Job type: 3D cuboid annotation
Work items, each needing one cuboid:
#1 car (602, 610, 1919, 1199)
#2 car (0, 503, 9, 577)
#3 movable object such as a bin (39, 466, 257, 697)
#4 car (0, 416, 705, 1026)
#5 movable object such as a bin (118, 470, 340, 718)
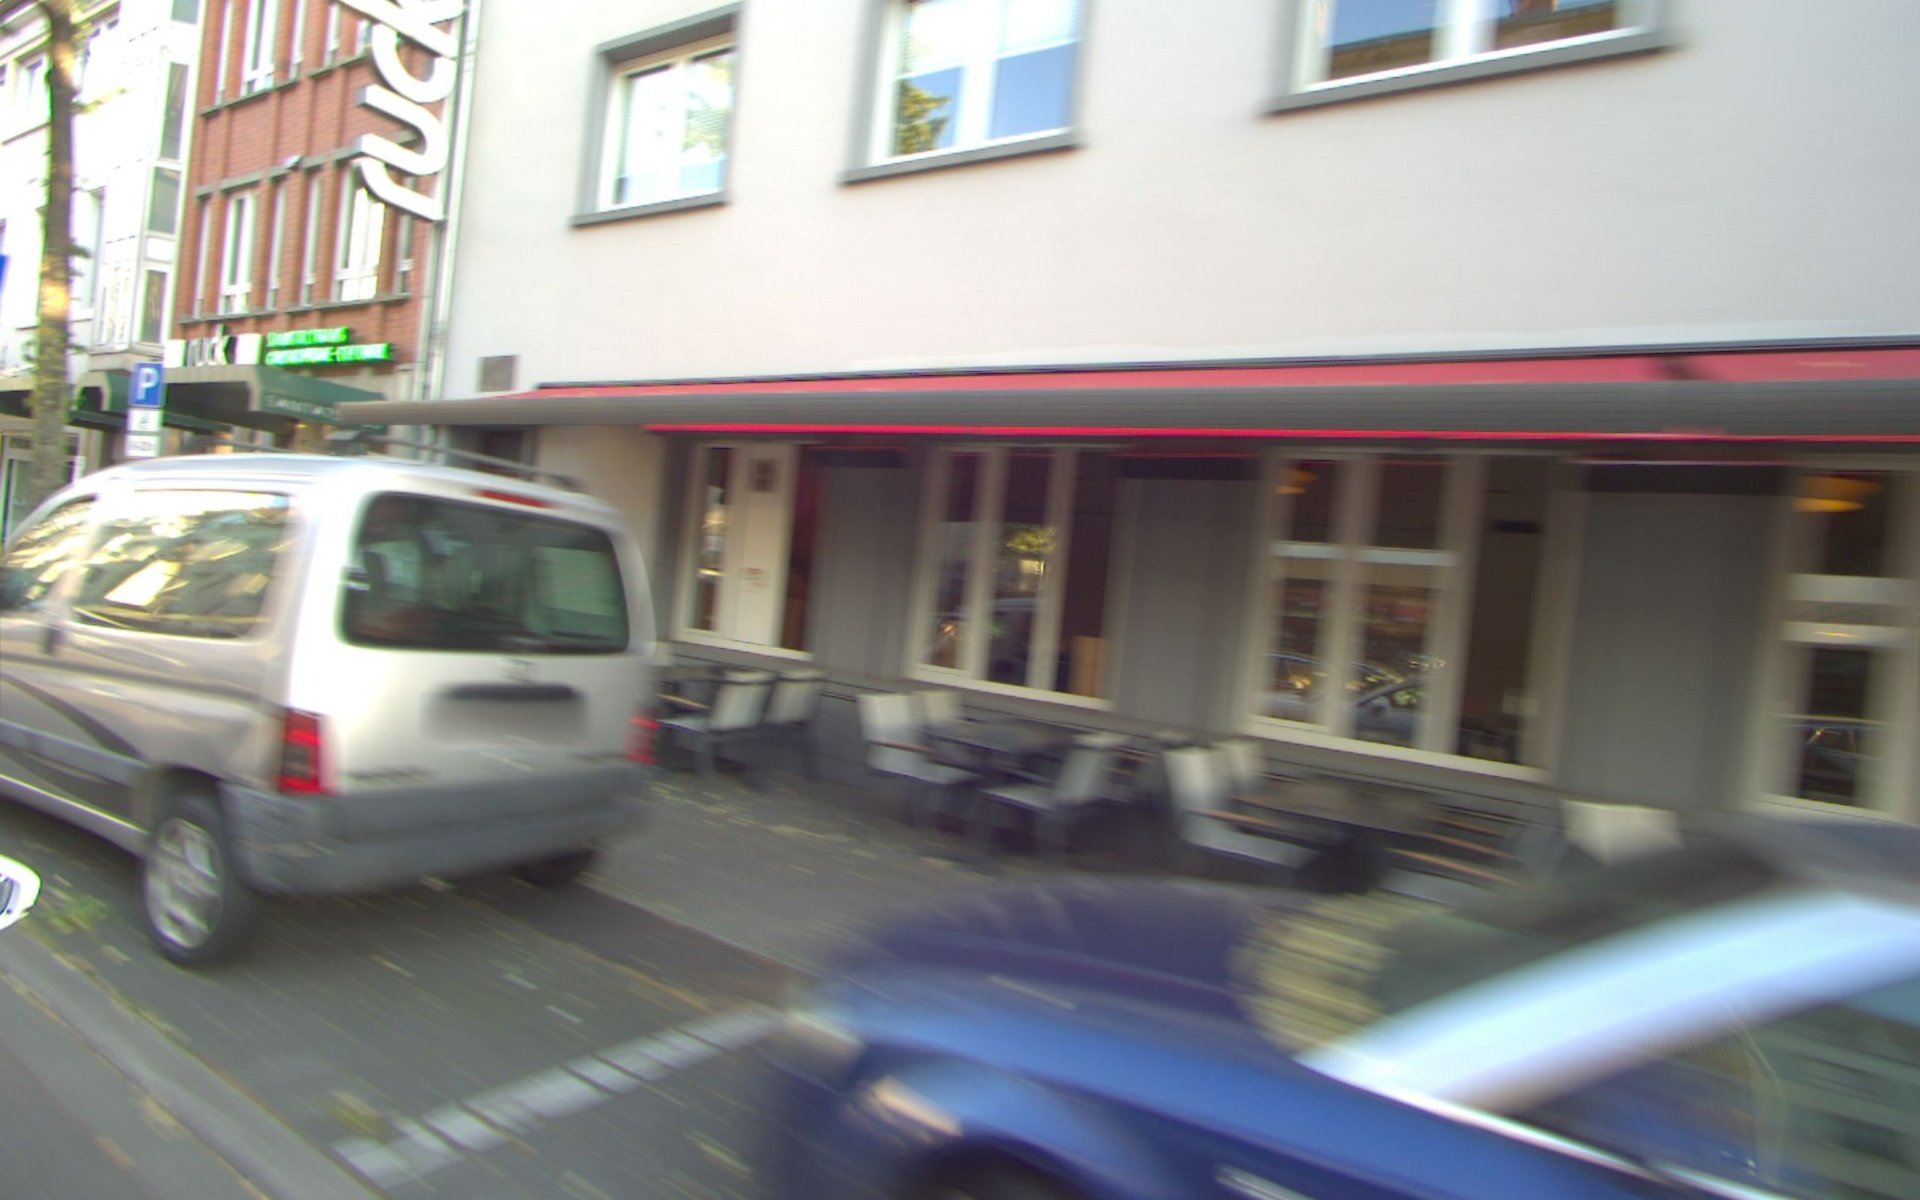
[{"bbox_3d":[1.659,1.010,1.558,4.111,1.392,1.942,6,-3,30],"label":"car"},{"bbox_3d":[-11.170,-0.464,9.642,4.434,1.437,1.756,7,-1,31],"label":"car"},{"bbox_3d":[-6.925,-0.154,8.586,1.330,1.795,0.837,6,-1,28],"label":"movable object such as a bin"},{"bbox_3d":[-3.349,0.248,4.684,3.942,1.799,1.658,7,-1,28],"label":"car"},{"bbox_3d":[-5.797,-0.044,7.992,1.185,1.795,0.837,6,-1,28],"label":"movable object such as a bin"}]
